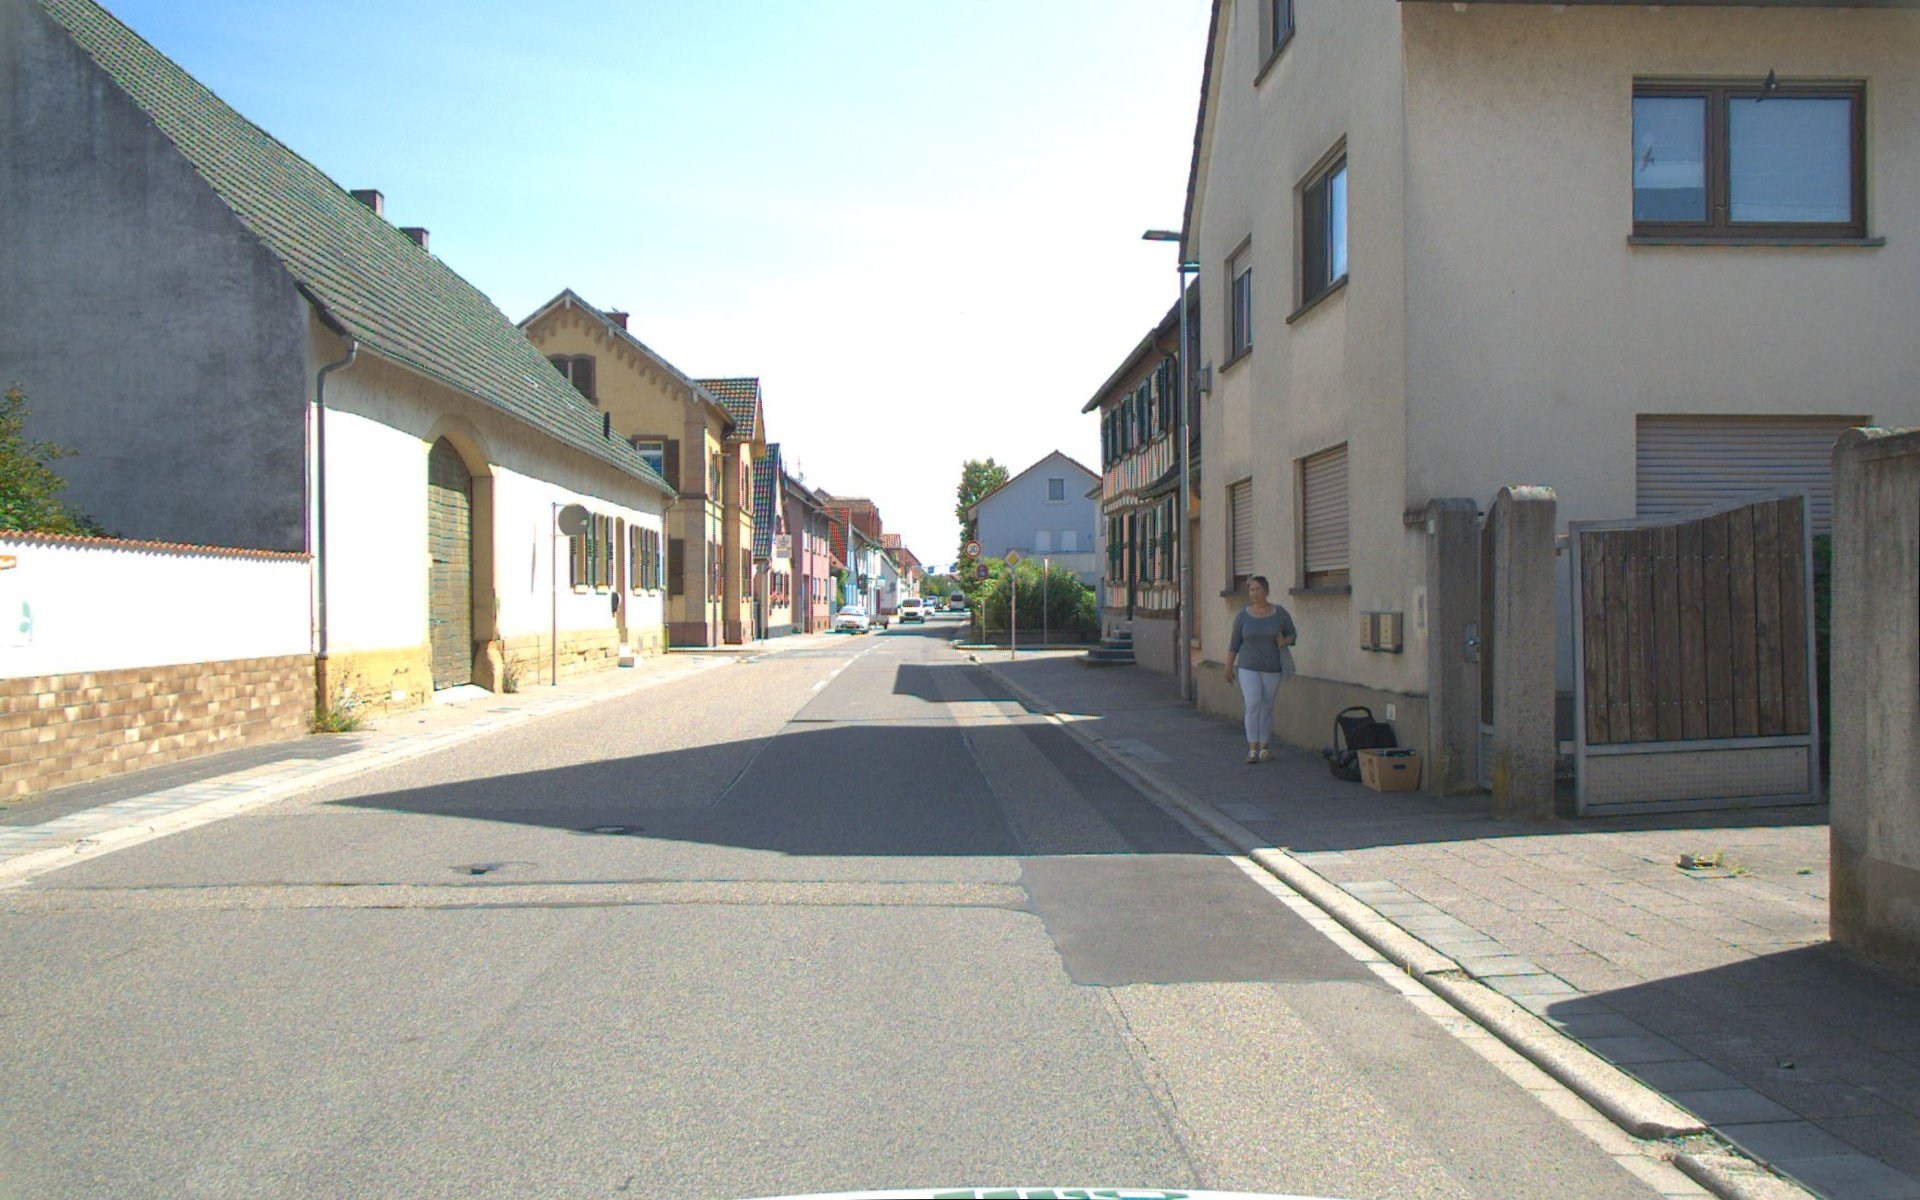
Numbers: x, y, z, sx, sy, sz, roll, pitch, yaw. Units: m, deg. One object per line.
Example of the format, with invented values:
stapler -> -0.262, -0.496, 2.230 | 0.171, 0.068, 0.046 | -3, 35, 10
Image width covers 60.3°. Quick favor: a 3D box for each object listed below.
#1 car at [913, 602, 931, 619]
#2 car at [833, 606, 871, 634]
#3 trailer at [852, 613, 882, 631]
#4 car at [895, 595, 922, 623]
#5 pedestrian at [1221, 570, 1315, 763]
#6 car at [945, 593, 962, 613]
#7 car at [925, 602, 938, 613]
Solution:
car -> -4.105, 1.128, 180.372 | 1.953, 1.780, 3.999 | 0, 0, -1
car -> -6.053, 1.118, 92.913 | 1.953, 1.467, 3.999 | -1, 0, -1
trailer -> -6.128, 1.454, 109.608 | 1.953, 1.109, 3.998 | 0, 0, -3
car -> -4.190, 0.712, 133.279 | 2.115, 2.116, 3.997 | -1, -2, -3
pedestrian -> 2.769, 0.581, 14.953 | 0.704, 1.693, 0.892 | 0, 0, 2
car -> -0.864, 0.381, 215.648 | 1.977, 2.612, 3.998 | -1, 0, -2
car -> -4.136, 1.073, 243.202 | 1.830, 1.571, 3.837 | -1, 0, -2
